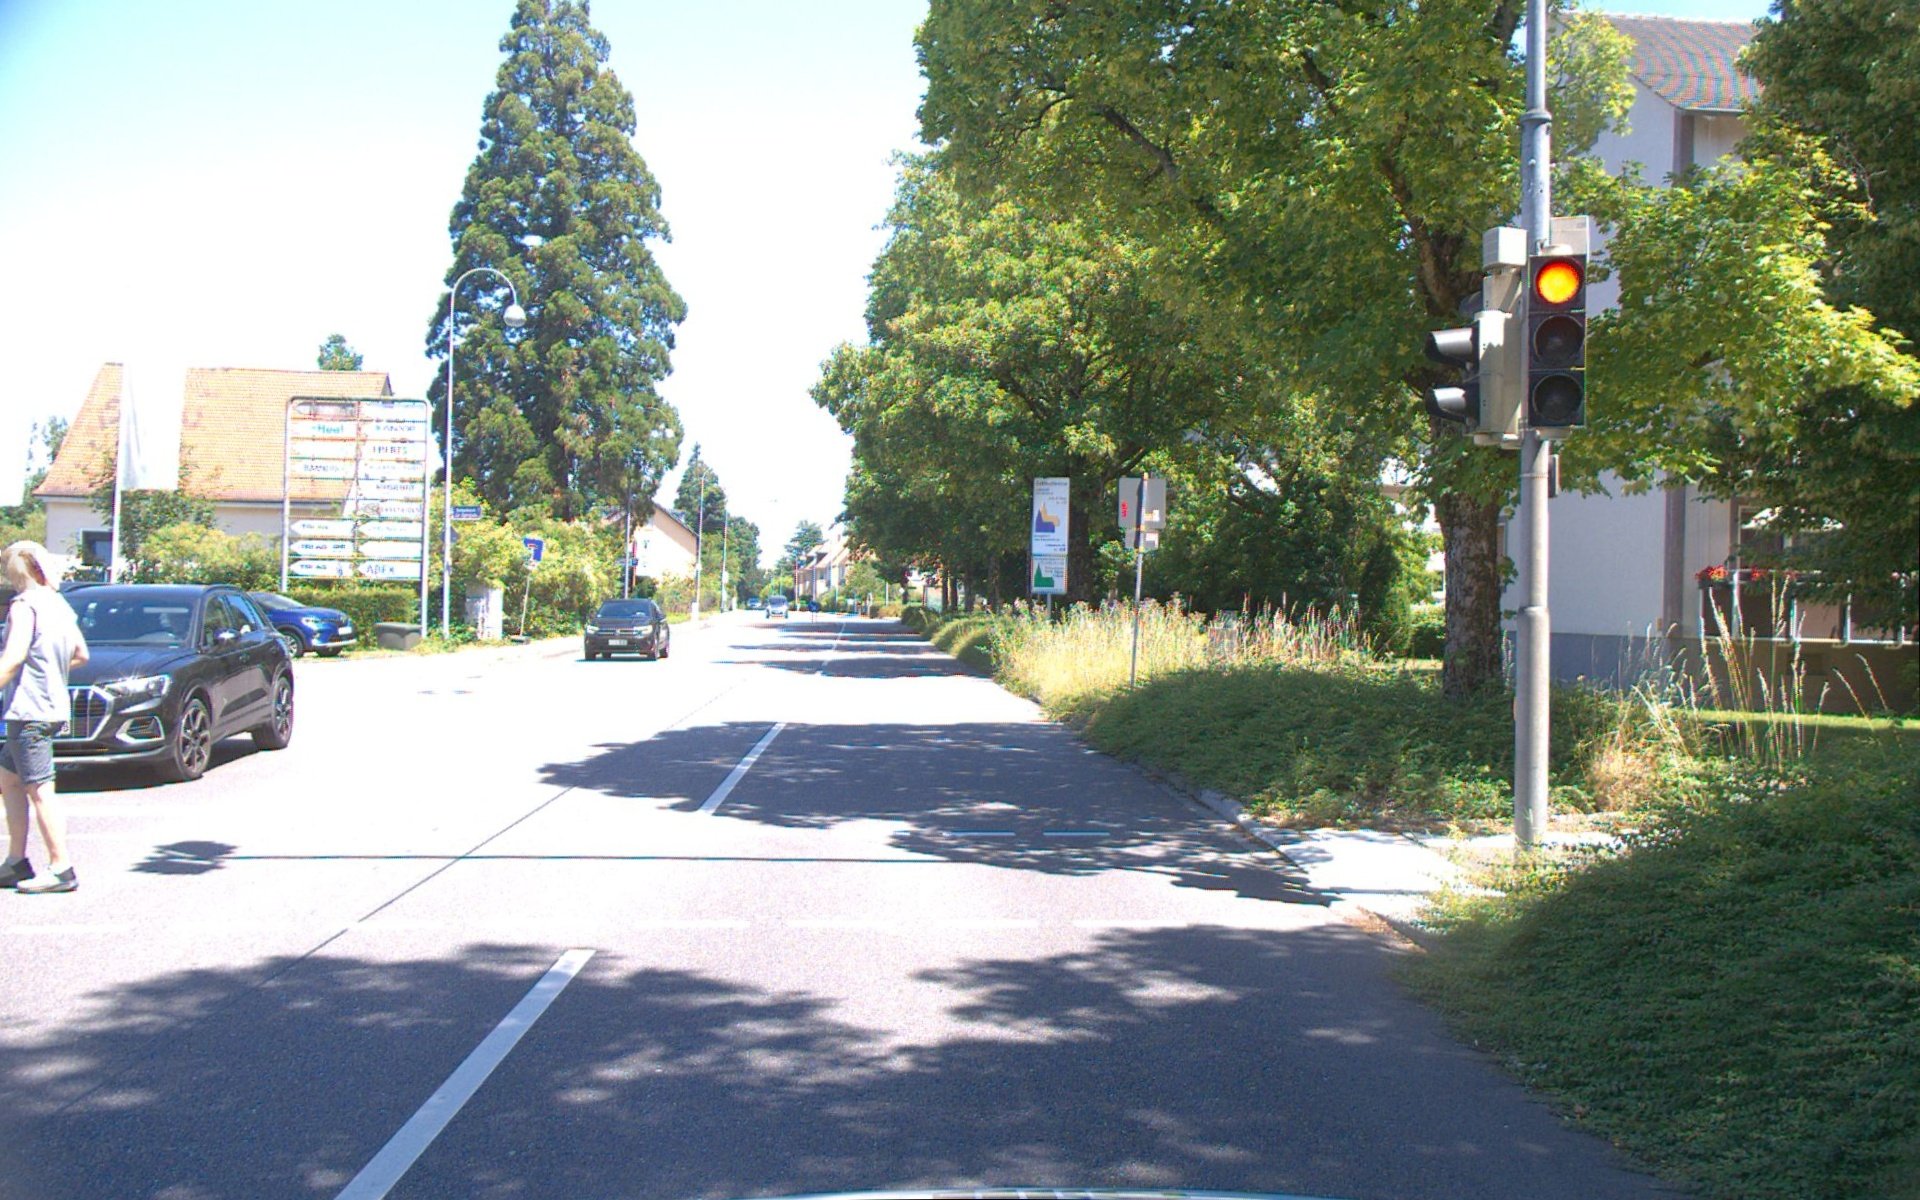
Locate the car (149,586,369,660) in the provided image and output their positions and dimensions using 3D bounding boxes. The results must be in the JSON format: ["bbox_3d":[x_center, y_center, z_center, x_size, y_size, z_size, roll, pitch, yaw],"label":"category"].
[{"bbox_3d":[-15.202,0.477,35.951,4.047,1.531,1.779,0,0,8],"label":"car"}]

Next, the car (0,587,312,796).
[{"bbox_3d":[-7.294,0.690,14.648,1.890,1.582,4.295,0,0,-8],"label":"car"}]

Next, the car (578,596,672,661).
[{"bbox_3d":[-8.313,0.684,41.352,1.832,1.533,4.049,0,0,-5],"label":"car"}]

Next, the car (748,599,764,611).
[{"bbox_3d":[-26.694,0.693,216.442,1.786,1.579,3.996,0,0,-4],"label":"car"}]

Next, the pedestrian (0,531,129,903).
[{"bbox_3d":[-4.709,0.562,8.385,0.532,1.792,0.702,0,0,25],"label":"pedestrian"}]

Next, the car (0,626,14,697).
[{"bbox_3d":[-24.698,1.532,39.990,1.775,1.752,4.081,1,0,-8],"label":"car"}]

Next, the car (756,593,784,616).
[{"bbox_3d":[-15.178,0.358,132.437,1.774,1.793,4.569,2,0,-1],"label":"car"}]
